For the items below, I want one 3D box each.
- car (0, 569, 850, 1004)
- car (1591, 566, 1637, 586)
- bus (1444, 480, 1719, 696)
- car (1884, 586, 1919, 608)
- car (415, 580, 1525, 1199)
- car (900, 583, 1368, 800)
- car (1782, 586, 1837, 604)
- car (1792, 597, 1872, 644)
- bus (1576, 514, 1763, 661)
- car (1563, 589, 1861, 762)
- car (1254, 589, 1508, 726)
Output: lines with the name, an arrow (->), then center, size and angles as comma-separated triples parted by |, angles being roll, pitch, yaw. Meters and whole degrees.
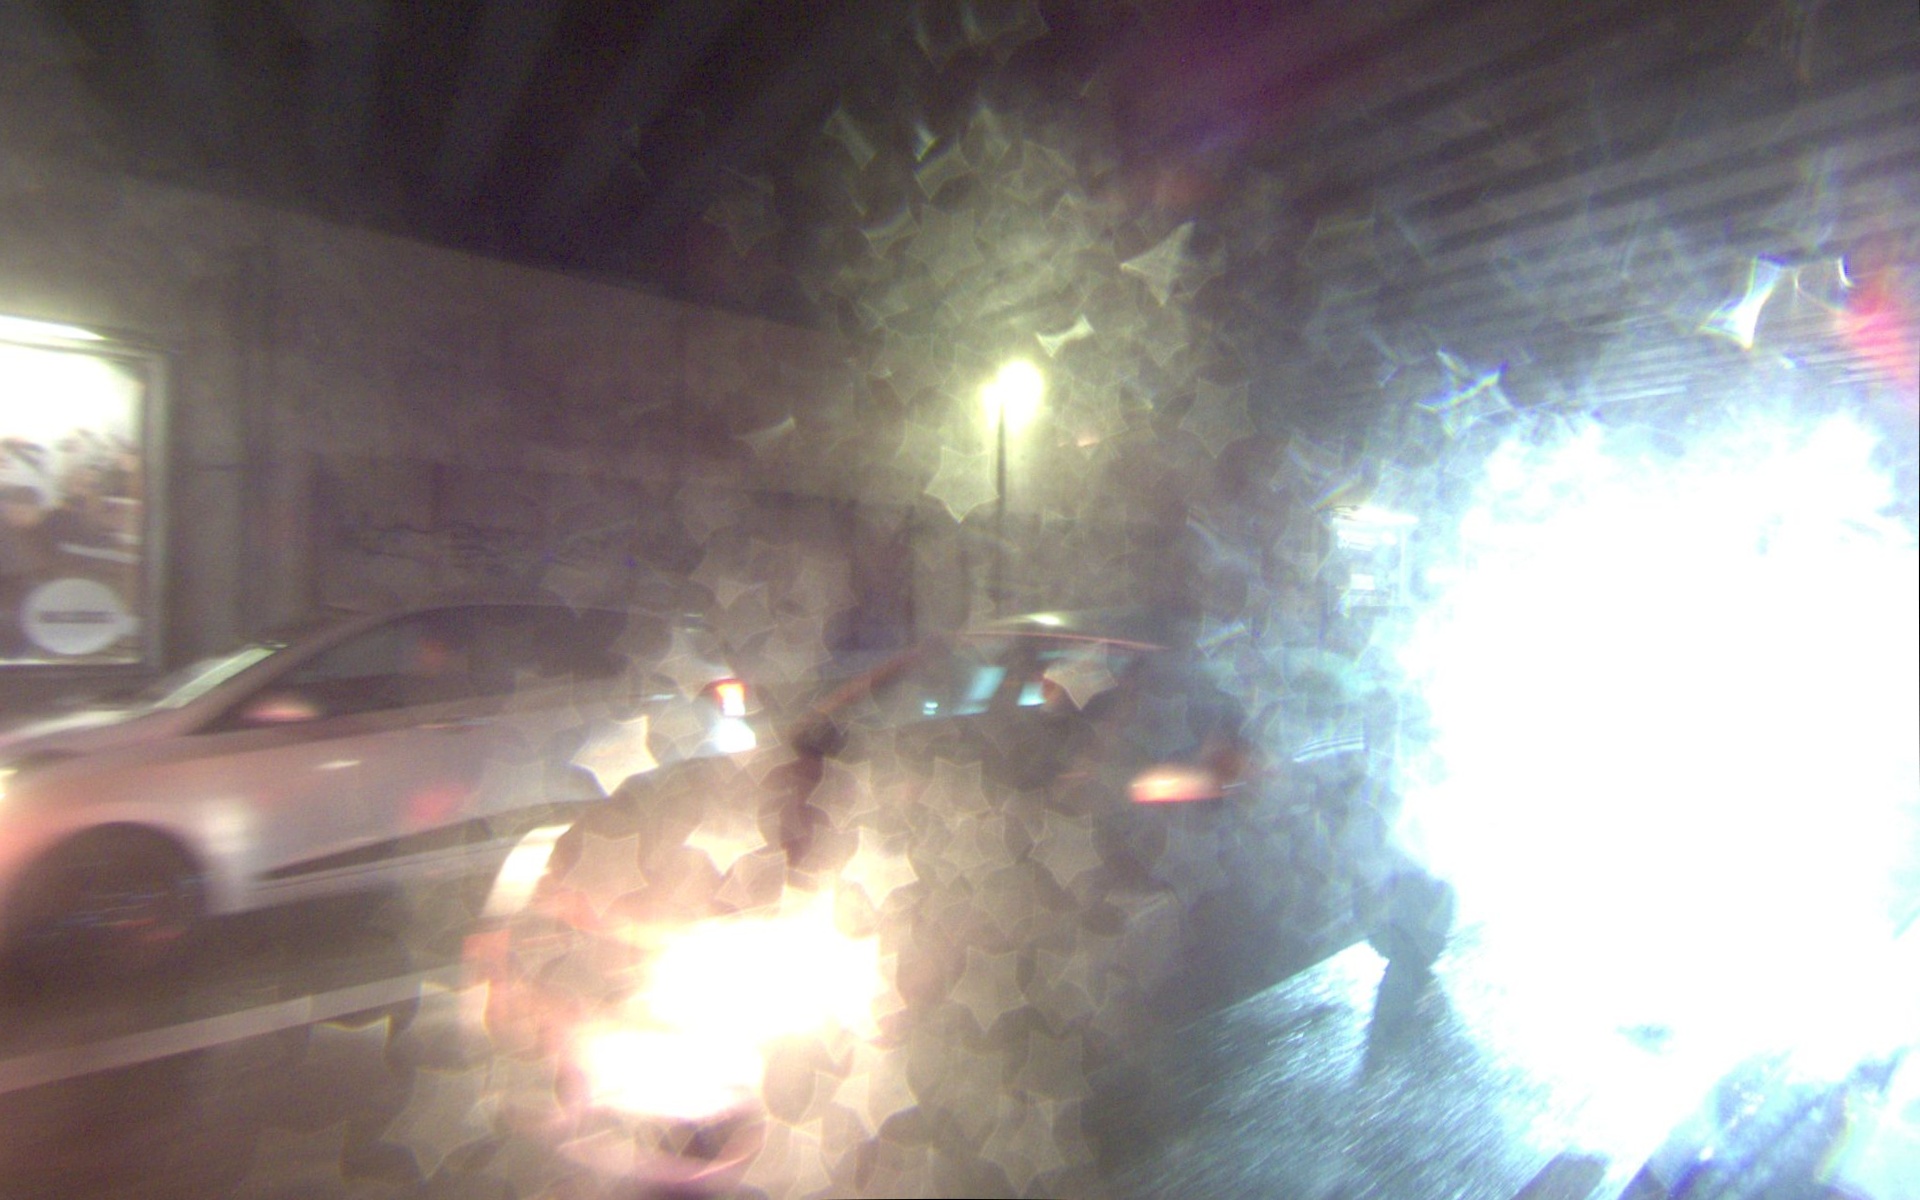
car -> -2.743, 0.622, 5.152 | 4.090, 1.464, 1.723 | 0, 3, -42
car -> 45.714, -1.663, 70.811 | 1.686, 1.407, 3.978 | 0, 1, 17
bus -> 12.617, -0.248, 19.985 | 2.733, 3.318, 9.548 | 1, 1, 43
car -> 61.984, -0.189, 65.239 | 1.877, 1.407, 4.583 | 1, 1, 20
car -> 0.423, 0.682, 3.809 | 4.090, 1.464, 1.723 | 0, 1, -42
car -> 1.829, 0.632, 9.406 | 4.704, 1.505, 1.723 | 0, 2, -42
car -> 66.065, -0.415, 78.778 | 1.879, 1.407, 4.806 | 1, 1, 22
car -> 31.550, 0.696, 36.710 | 1.745, 1.464, 3.924 | 3, 2, 35
bus -> 19.123, -0.341, 26.936 | 2.733, 3.279, 9.548 | 1, 1, 43
car -> 8.162, 0.677, 10.849 | 4.090, 1.506, 1.722 | 0, -2, -42
car -> 5.800, 0.640, 13.697 | 1.721, 1.505, 4.095 | 3, 3, 45
